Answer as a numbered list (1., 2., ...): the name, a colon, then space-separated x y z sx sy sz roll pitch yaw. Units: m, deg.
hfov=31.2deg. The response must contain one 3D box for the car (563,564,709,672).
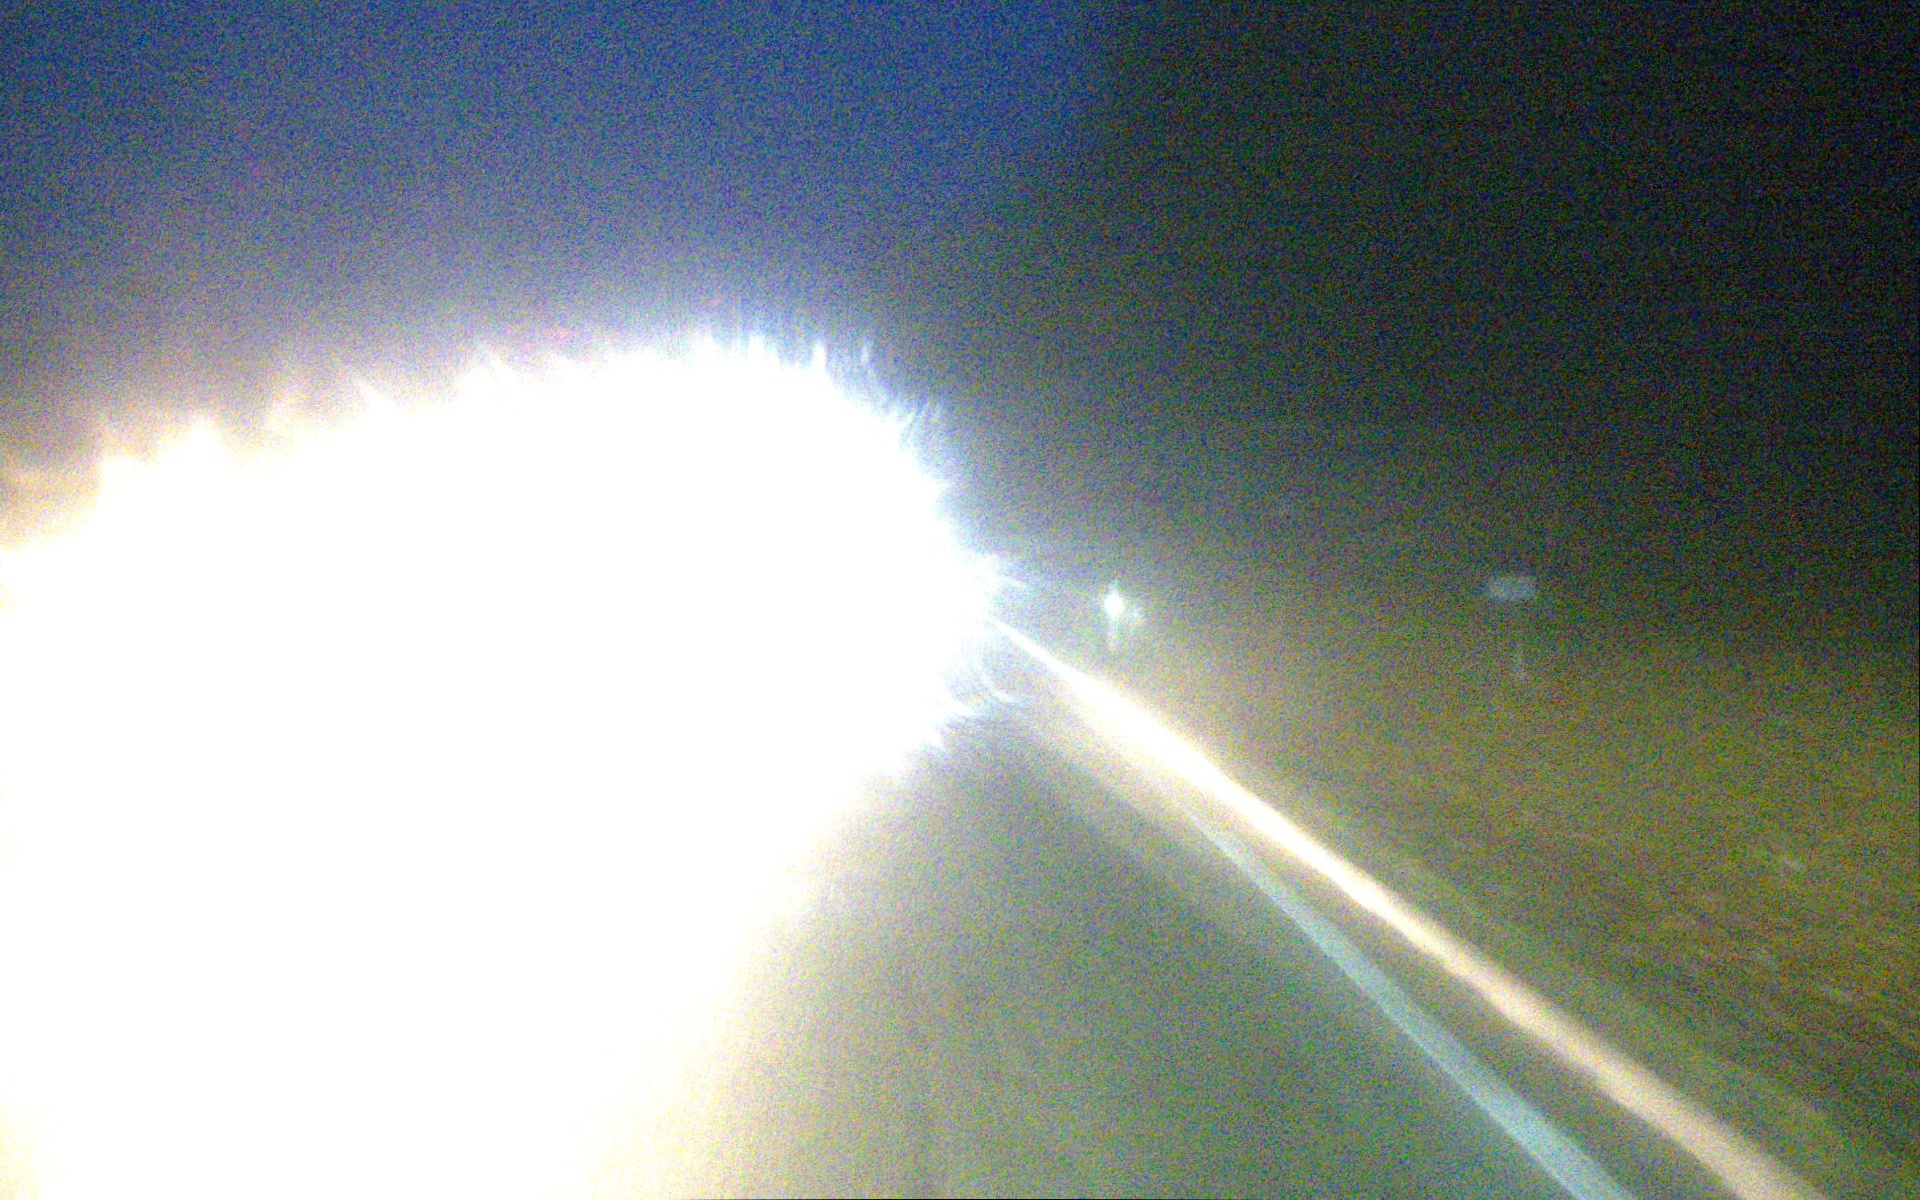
1. car: -4.711 0.229 50.506 1.843 1.475 4.249 1 1 -2

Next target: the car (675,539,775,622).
1. car: -5.245 -0.467 77.317 1.993 1.786 4.246 1 1 -1

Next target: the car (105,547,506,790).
1. car: -4.306 0.394 23.210 1.993 1.470 3.924 1 1 -1
